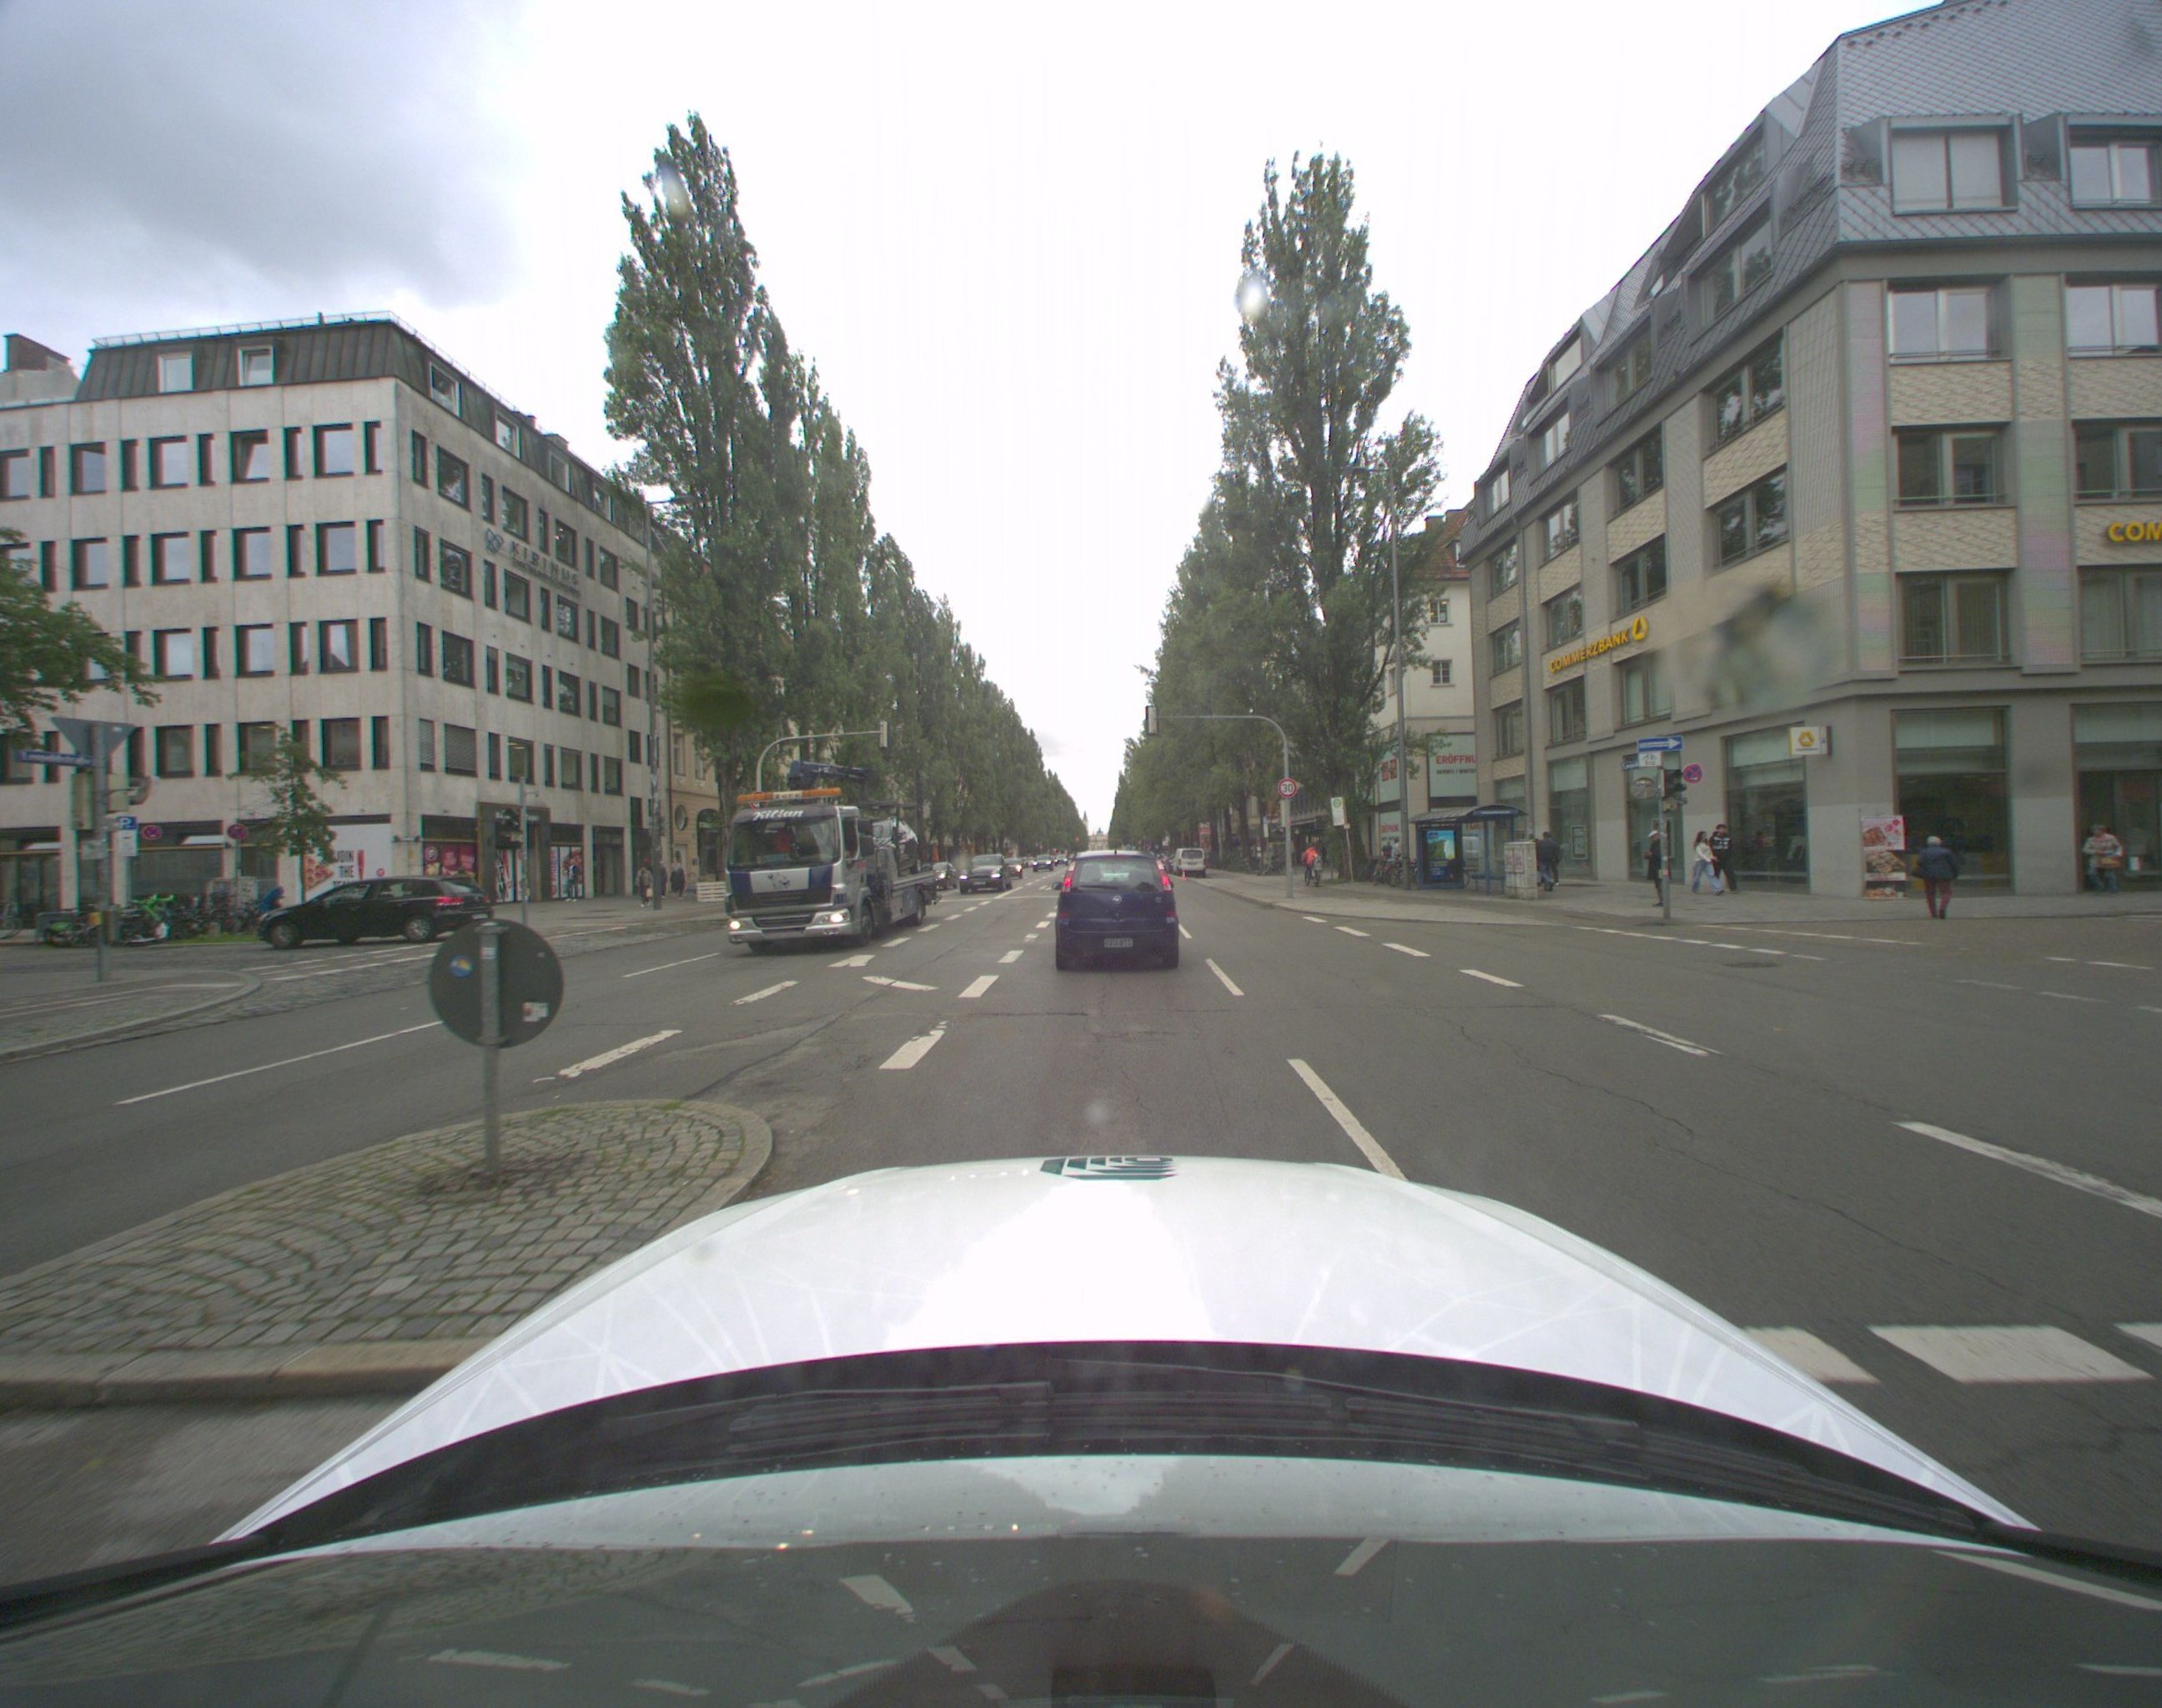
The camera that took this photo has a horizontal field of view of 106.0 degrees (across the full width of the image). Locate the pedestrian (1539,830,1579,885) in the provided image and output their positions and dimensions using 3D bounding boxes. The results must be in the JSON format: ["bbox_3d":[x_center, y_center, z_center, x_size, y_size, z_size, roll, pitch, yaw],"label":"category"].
[{"bbox_3d":[15.875,0.121,27.077,0.747,1.758,0.859,-2,-2,2],"label":"pedestrian"}]

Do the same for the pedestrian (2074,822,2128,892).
[{"bbox_3d":[22.782,0.074,18.198,0.442,1.531,0.584,-2,0,-2],"label":"pedestrian"}]

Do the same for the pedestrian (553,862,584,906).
[{"bbox_3d":[-21.179,1.240,33.661,0.696,1.787,0.821,-2,0,2],"label":"pedestrian"}]

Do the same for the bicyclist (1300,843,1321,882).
[{"bbox_3d":[9.359,0.341,33.263,0.619,1.588,0.753,-2,0,0],"label":"bicyclist"}]

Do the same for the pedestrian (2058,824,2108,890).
[{"bbox_3d":[23.820,0.072,19.369,0.442,1.531,0.584,-2,0,-2],"label":"pedestrian"}]

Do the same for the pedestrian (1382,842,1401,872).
[{"bbox_3d":[17.794,0.175,46.692,0.747,1.718,0.963,-2,0,1],"label":"pedestrian"}]

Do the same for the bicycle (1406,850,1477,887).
[{"bbox_3d":[12.480,0.511,28.222,2.219,1.252,0.480,-2,0,25],"label":"bicycle"}]

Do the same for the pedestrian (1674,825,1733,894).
[{"bbox_3d":[16.501,0.130,21.607,0.747,1.758,1.018,-2,0,2],"label":"pedestrian"}]

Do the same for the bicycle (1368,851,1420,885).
[{"bbox_3d":[11.795,0.523,30.703,1.718,1.239,0.450,-2,0,2],"label":"bicycle"}]

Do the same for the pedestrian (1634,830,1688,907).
[{"bbox_3d":[13.659,0.327,19.193,0.705,1.758,0.753,-2,0,2],"label":"pedestrian"}]

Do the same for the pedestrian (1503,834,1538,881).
[{"bbox_3d":[15.872,0.122,29.426,0.747,1.677,0.963,-2,0,2],"label":"pedestrian"}]

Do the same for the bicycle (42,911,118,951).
[{"bbox_3d":[-27.642,2.118,22.485,2.043,1.047,0.418,-2,0,12],"label":"bicycle"}]

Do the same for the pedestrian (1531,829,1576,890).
[{"bbox_3d":[14.443,0.154,24.907,0.815,1.818,0.890,-1,0,0],"label":"pedestrian"}]

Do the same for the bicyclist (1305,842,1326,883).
[{"bbox_3d":[9.355,0.337,32.500,0.619,1.588,0.481,-2,0,0],"label":"bicyclist"}]

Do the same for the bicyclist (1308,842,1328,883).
[{"bbox_3d":[9.347,0.335,32.118,0.619,1.588,0.391,-2,0,0],"label":"bicyclist"}]

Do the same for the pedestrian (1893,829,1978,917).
[{"bbox_3d":[16.602,0.366,15.845,0.747,1.636,0.734,-3,-2,3],"label":"pedestrian"}]

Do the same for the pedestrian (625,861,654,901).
[{"bbox_3d":[-19.706,1.193,36.376,0.797,1.787,0.912,0,0,1],"label":"pedestrian"}]

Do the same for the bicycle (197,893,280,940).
[{"bbox_3d":[-24.341,1.785,23.588,0.414,1.184,2.029,-2,0,-5],"label":"bicycle"}]

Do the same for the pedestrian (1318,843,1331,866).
[{"bbox_3d":[18.094,0.016,60.419,0.666,1.609,0.773,-6,2,8],"label":"pedestrian"}]

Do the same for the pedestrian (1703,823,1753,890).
[{"bbox_3d":[17.334,0.063,21.834,0.747,1.758,0.711,-1,0,2],"label":"pedestrian"}]

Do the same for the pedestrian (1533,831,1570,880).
[{"bbox_3d":[16.626,0.049,28.801,0.747,1.718,0.963,-1,0,2],"label":"pedestrian"}]

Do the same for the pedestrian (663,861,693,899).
[{"bbox_3d":[-17.259,1.109,34.920,0.748,1.567,0.989,-2,0,1],"label":"pedestrian"}]

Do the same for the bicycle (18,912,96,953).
[{"bbox_3d":[-27.718,2.117,22.037,2.043,1.047,0.418,-2,0,12],"label":"bicycle"}]

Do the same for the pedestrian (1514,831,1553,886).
[{"bbox_3d":[15.079,0.156,27.171,0.747,1.758,0.859,-2,-2,2],"label":"pedestrian"}]

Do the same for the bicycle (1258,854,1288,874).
[{"bbox_3d":[11.537,0.600,48.950,1.737,1.110,0.447,-2,0,-9],"label":"bicycle"}]

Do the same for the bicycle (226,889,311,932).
[{"bbox_3d":[-25.013,1.741,25.075,2.123,1.249,0.558,-2,0,4],"label":"bicycle"}]

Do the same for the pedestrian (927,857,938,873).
[{"bbox_3d":[-16.206,1.216,88.934,0.848,1.744,1.148,-2,0,2],"label":"pedestrian"}]

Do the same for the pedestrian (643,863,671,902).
[{"bbox_3d":[-18.910,1.271,36.312,0.729,1.681,0.978,0,0,1],"label":"pedestrian"}]

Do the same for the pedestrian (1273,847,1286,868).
[{"bbox_3d":[17.159,0.294,70.356,0.823,1.841,1.099,-2,0,1],"label":"pedestrian"}]

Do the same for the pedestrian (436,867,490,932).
[{"bbox_3d":[-16.829,1.219,22.193,0.724,1.740,0.942,0,-1,1],"label":"pedestrian"}]

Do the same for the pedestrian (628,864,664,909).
[{"bbox_3d":[-16.207,1.188,30.349,0.775,1.618,0.935,-2,0,1],"label":"pedestrian"}]

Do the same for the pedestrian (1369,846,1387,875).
[{"bbox_3d":[17.049,0.360,46.741,0.649,1.663,0.963,-2,0,2],"label":"pedestrian"}]
